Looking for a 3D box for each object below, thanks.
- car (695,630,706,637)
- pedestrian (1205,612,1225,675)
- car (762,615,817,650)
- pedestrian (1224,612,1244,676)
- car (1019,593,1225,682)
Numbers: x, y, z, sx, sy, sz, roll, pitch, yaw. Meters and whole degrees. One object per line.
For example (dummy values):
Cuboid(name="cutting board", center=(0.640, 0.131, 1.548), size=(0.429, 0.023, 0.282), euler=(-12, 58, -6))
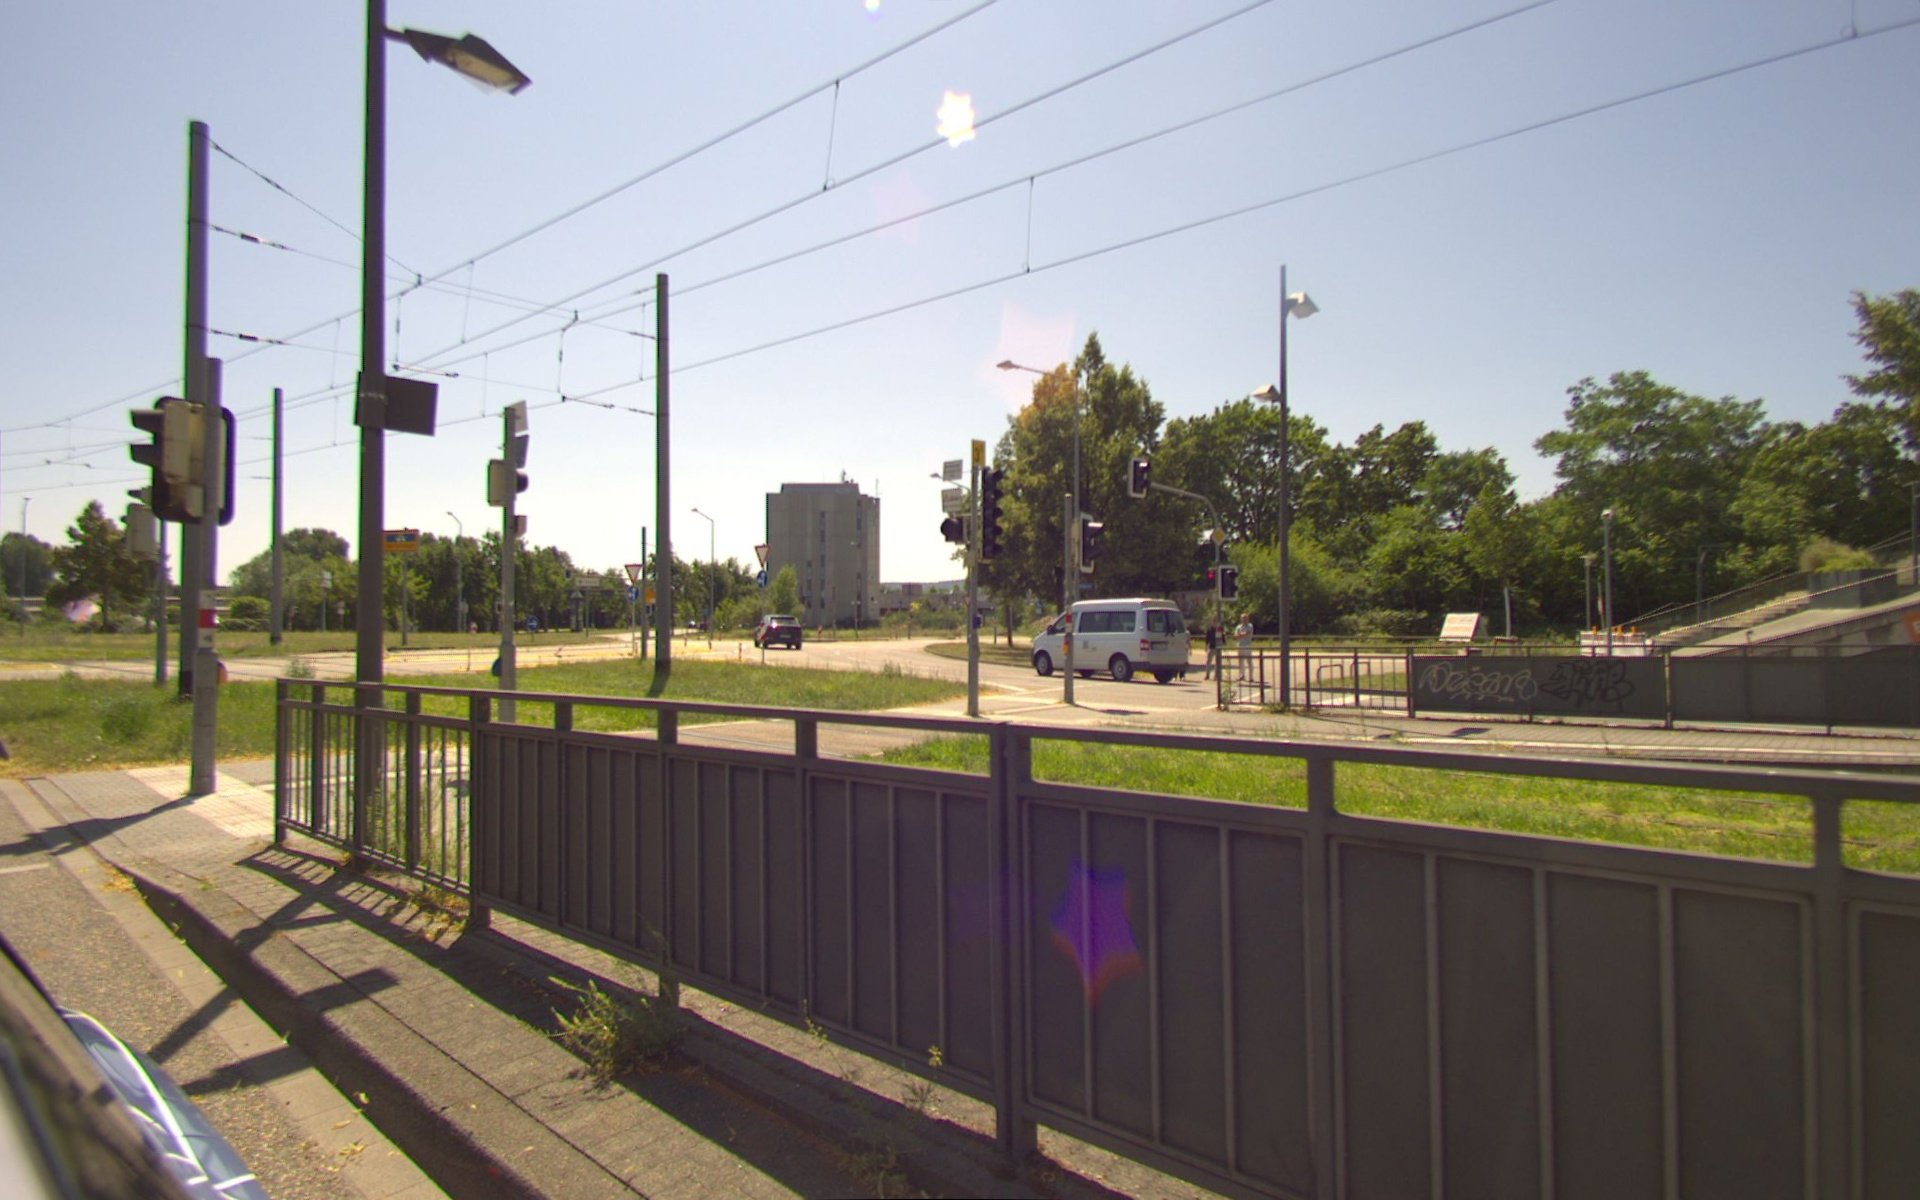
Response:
Cuboid(name="car", center=(-43.290, 5.545, 168.858), size=(1.473, 1.098, 3.527), euler=(0, -1, -10))
Cuboid(name="pedestrian", center=(7.128, 1.215, 28.294), size=(0.449, 1.752, 0.287), euler=(-1, -1, 41))
Cuboid(name="car", center=(-8.018, 1.453, 47.188), size=(1.966, 1.529, 5.853), euler=(0, -1, -15))
Cuboid(name="pedestrian", center=(7.567, 1.219, 27.995), size=(0.449, 1.752, 0.287), euler=(-1, -1, 41))
Cuboid(name="car", center=(4.216, 1.002, 27.297), size=(1.968, 2.122, 5.553), euler=(5, -4, -38))
